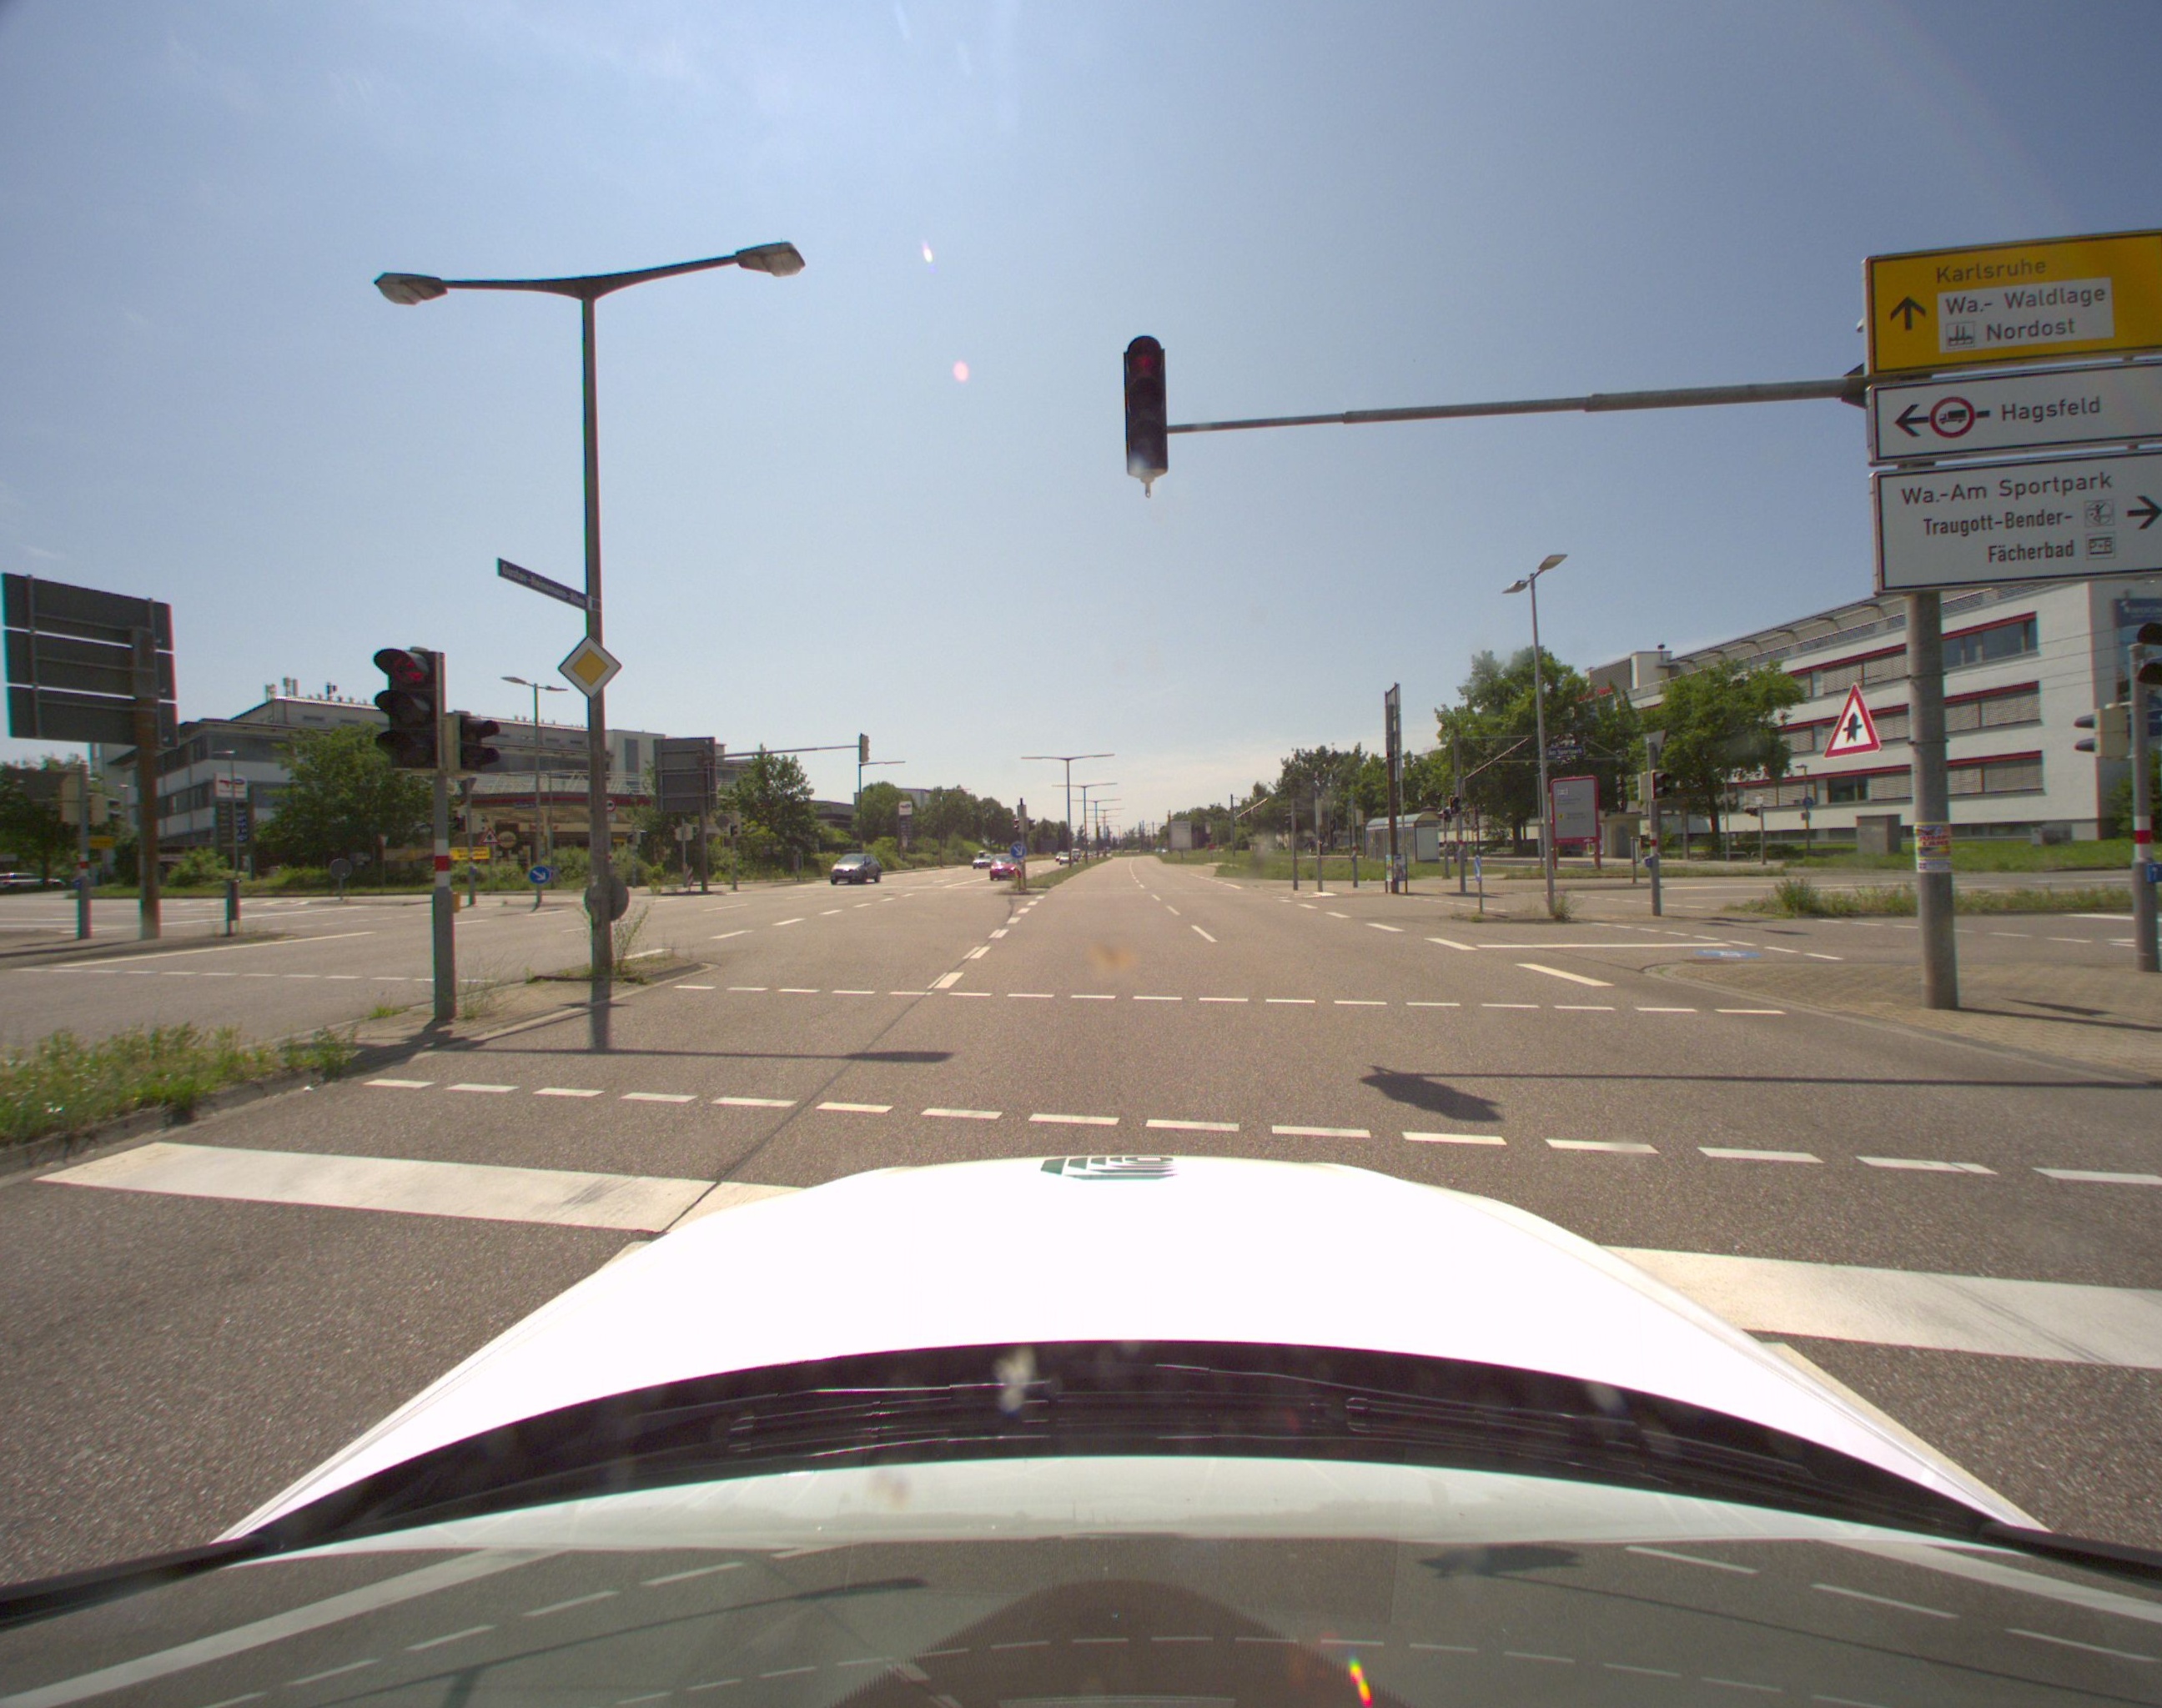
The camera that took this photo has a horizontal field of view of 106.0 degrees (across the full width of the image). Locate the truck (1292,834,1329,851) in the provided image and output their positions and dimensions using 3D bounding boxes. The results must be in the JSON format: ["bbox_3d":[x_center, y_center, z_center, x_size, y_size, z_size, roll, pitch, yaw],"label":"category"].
[{"bbox_3d":[41.460,-2.069,147.006,5.831,2.843,2.316,-3,0,-5],"label":"truck"}]

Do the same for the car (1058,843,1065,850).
[{"bbox_3d":[-5.952,-2.243,249.293,1.988,2.014,3.997,0,-1,-1],"label":"car"}]

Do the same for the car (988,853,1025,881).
[{"bbox_3d":[-4.269,0.698,47.230,1.652,1.490,4.001,-2,0,1],"label":"car"}]

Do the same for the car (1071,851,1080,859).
[{"bbox_3d":[-1.365,0.314,203.667,1.988,2.014,3.997,0,-1,-1],"label":"car"}]

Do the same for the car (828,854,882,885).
[{"bbox_3d":[-11.909,0.760,43.171,1.652,1.539,4.001,0,0,1],"label":"car"}]

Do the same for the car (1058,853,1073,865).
[{"bbox_3d":[-1.858,0.592,98.392,1.555,1.423,3.855,-1,1,1],"label":"car"}]

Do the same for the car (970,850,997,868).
[{"bbox_3d":[-9.774,0.456,81.846,1.958,1.750,5.023,-2,0,1],"label":"car"}]

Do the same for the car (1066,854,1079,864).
[{"bbox_3d":[-1.264,0.696,117.609,1.669,1.434,4.192,-1,0,2],"label":"car"}]
